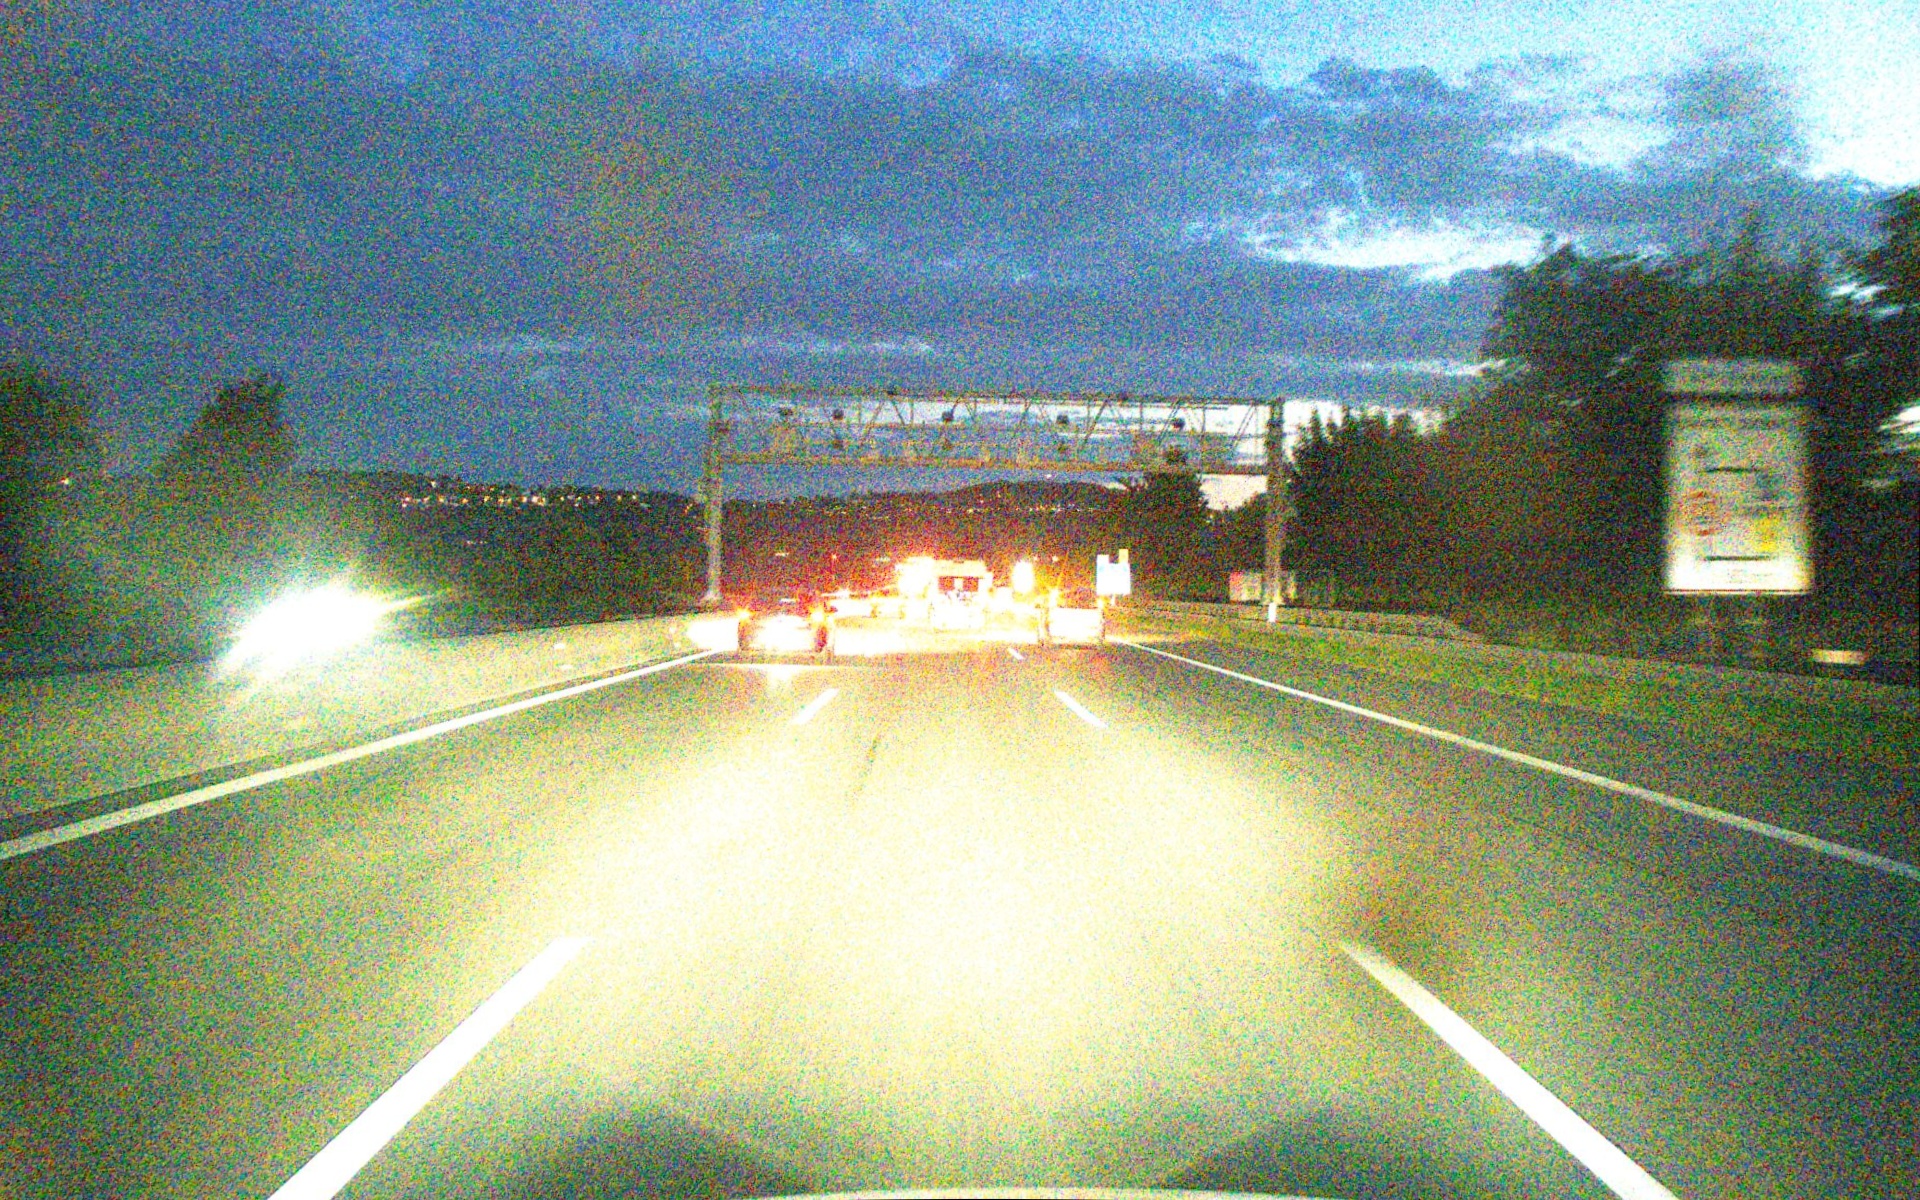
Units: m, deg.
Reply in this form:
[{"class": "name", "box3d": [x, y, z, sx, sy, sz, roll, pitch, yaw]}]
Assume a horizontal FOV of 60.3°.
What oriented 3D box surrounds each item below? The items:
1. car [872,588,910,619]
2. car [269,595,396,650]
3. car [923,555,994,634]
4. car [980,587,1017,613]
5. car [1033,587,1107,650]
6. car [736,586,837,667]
[{"class": "car", "box3d": [-3.377, 0.134, 81.545, 1.709, 1.465, 4.367, 0, 1, 0]}, {"class": "car", "box3d": [-19.079, 0.656, 50.571, 1.924, 1.564, 5.184, 0, 0, 0]}, {"class": "car", "box3d": [-0.069, -0.200, 56.832, 2.303, 2.579, 5.700, 0, 1, 0]}, {"class": "car", "box3d": [2.353, -0.006, 102.822, 2.119, 1.591, 4.722, 1, 0, 0]}, {"class": "car", "box3d": [2.970, 0.475, 45.423, 1.613, 1.624, 4.508, 1, 0, -1]}, {"class": "car", "box3d": [-3.430, 0.494, 33.258, 1.758, 1.494, 3.771, 1, 1, -2]}]
